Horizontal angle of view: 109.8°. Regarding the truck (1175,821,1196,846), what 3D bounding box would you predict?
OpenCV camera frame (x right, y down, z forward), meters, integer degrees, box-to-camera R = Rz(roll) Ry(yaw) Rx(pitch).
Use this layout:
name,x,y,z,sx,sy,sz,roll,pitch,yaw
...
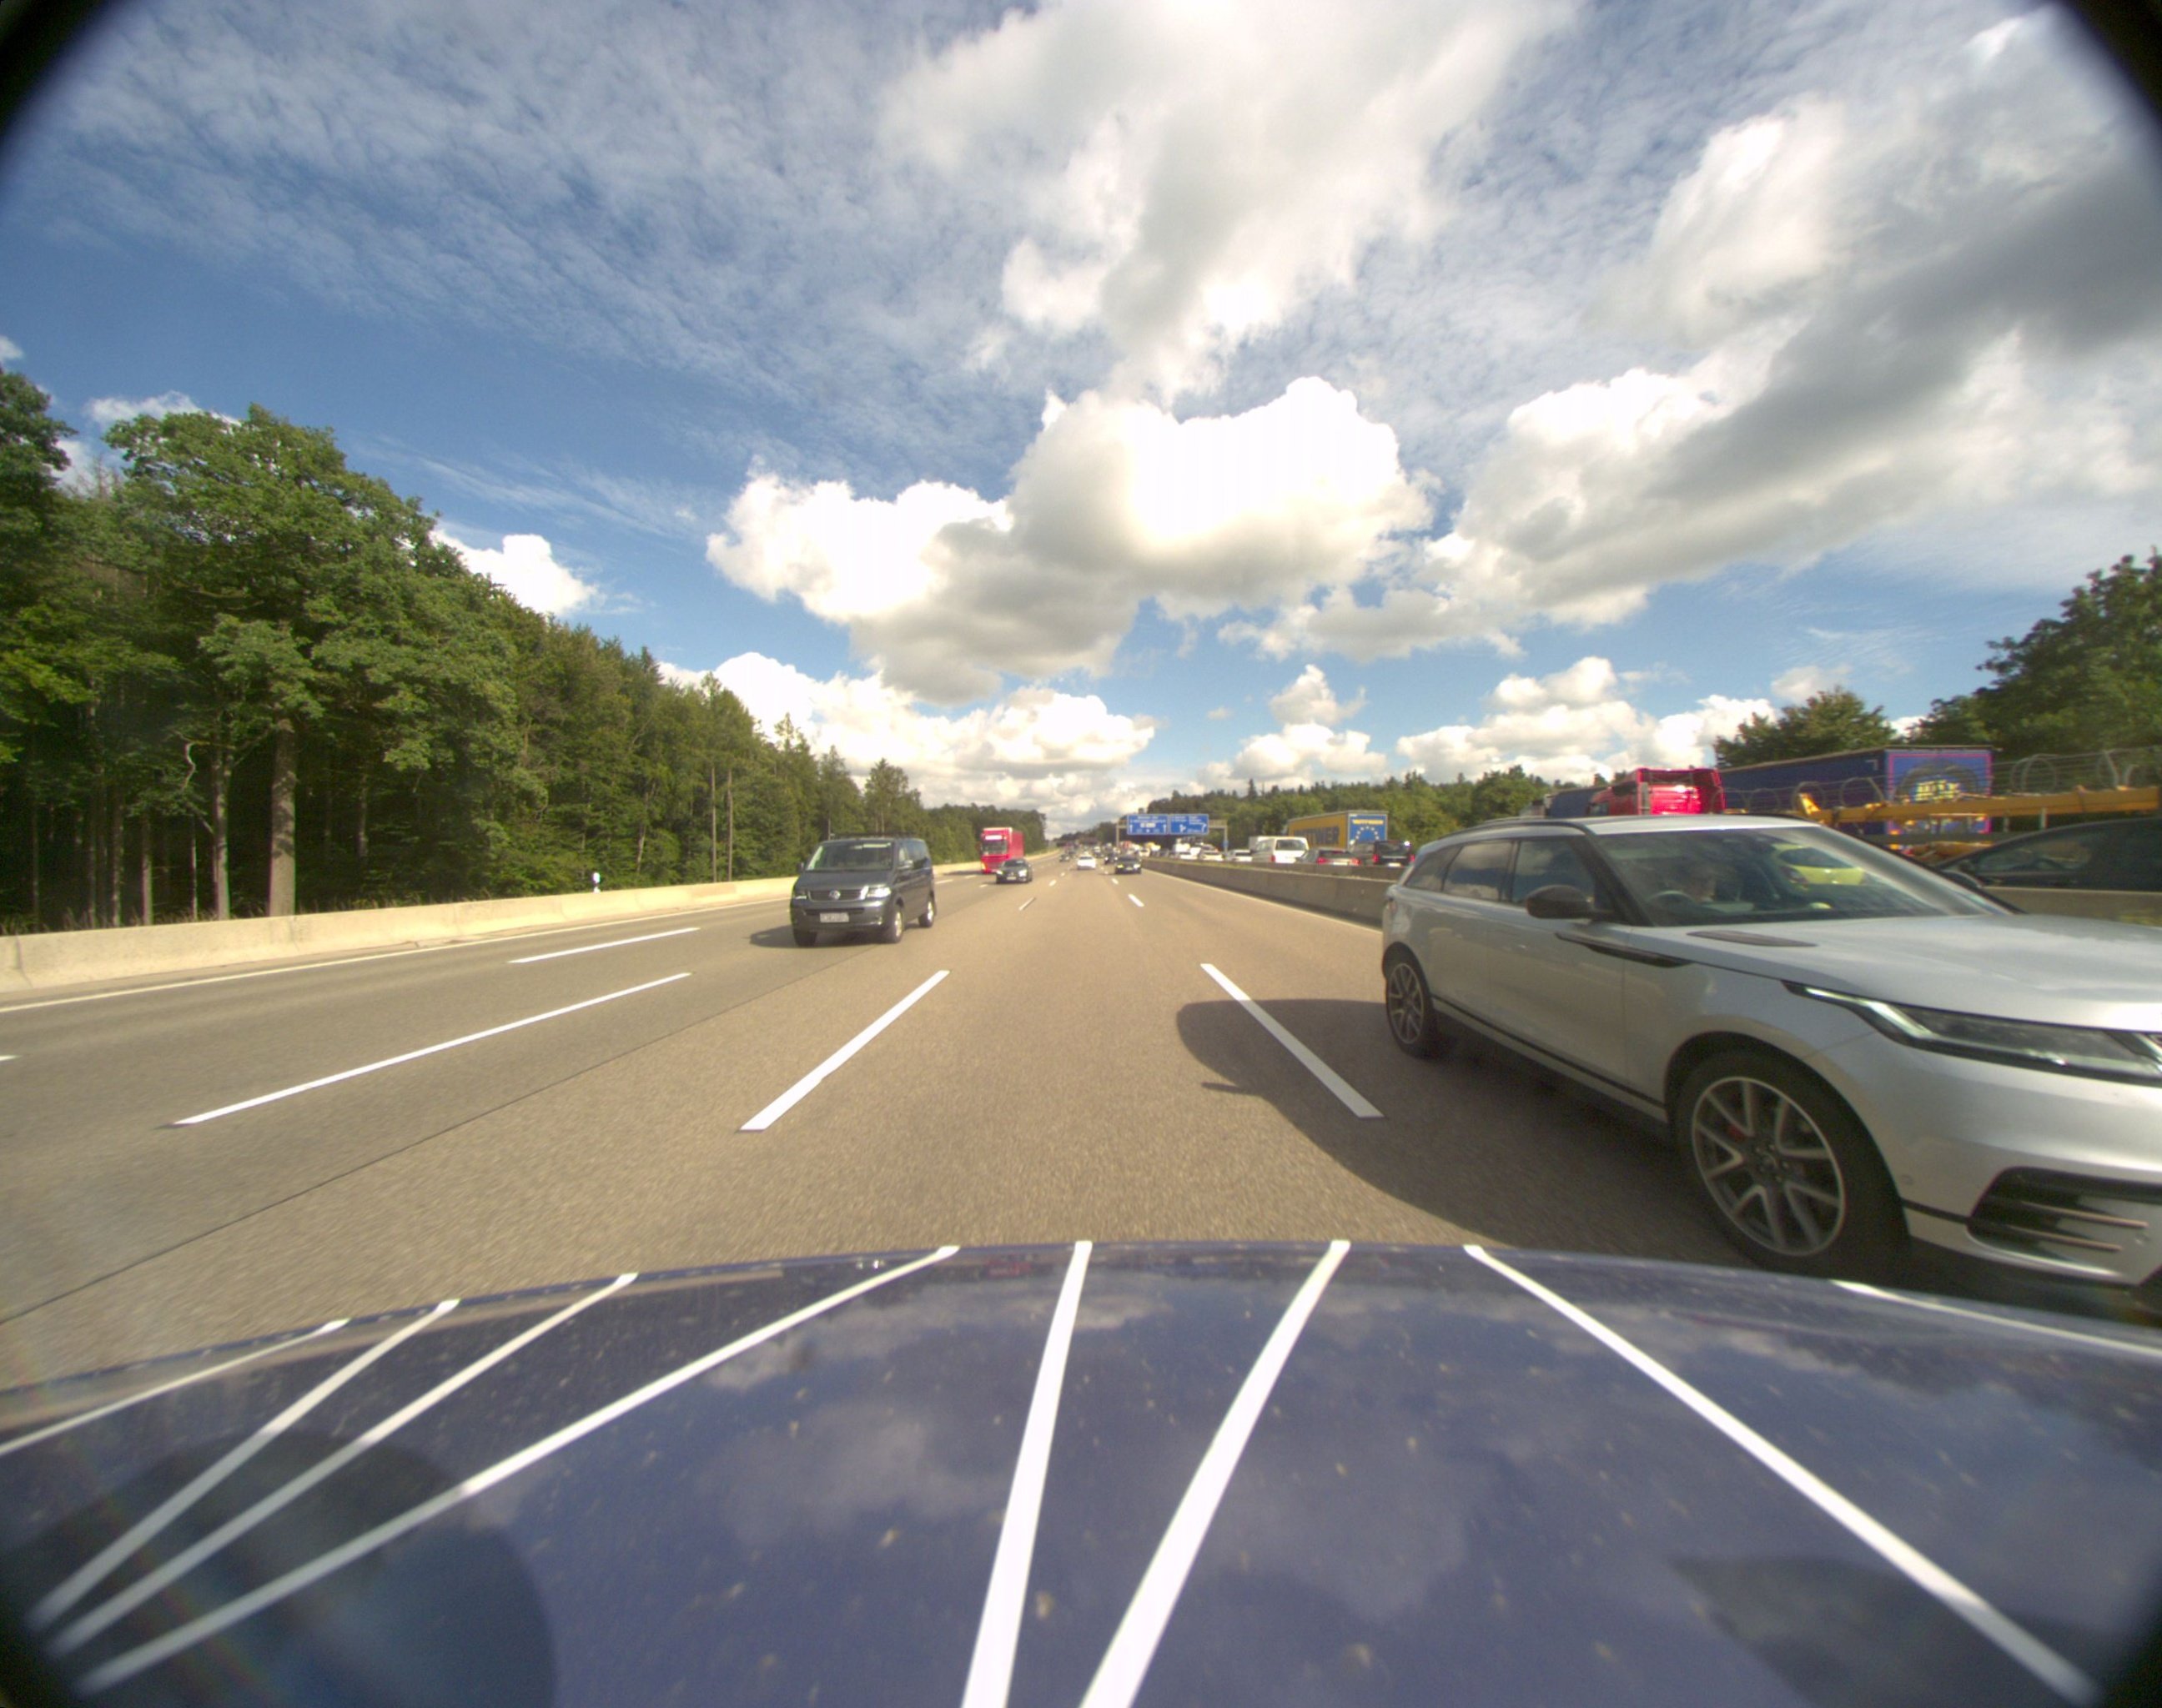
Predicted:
name,x,y,z,sx,sy,sz,roll,pitch,yaw
truck,18.456,-3.661,134.309,2.860,4.210,5.712,-3,1,1

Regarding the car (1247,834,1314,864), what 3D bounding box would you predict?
name,x,y,z,sx,sy,sz,roll,pitch,yaw
car,9.874,-0.301,38.117,1.854,1.347,5.487,-2,2,0

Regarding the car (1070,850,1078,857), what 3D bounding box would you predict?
name,x,y,z,sx,sy,sz,roll,pitch,yaw
car,-1.637,-0.137,187.440,1.804,1.865,3.950,-1,1,1

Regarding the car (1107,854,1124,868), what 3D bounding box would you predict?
name,x,y,z,sx,sy,sz,roll,pitch,yaw
car,4.449,0.879,98.158,1.911,1.582,4.287,-2,2,0

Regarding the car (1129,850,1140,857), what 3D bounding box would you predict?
name,x,y,z,sx,sy,sz,roll,pitch,yaw
car,9.977,-0.094,142.163,1.699,1.364,4.000,-2,0,1

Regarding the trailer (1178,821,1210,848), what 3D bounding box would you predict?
name,x,y,z,sx,sy,sz,roll,pitch,yaw
trailer,18.424,-3.238,124.883,2.837,3.953,16.000,-2,2,1

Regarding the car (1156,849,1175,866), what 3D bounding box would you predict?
name,x,y,z,sx,sy,sz,roll,pitch,yaw
car,10.707,0.417,96.969,1.998,2.002,4.408,-1,2,1

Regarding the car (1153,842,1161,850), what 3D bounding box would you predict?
name,x,y,z,sx,sy,sz,roll,pitch,yaw
car,19.573,-2.093,195.948,1.804,1.865,3.950,-1,1,1

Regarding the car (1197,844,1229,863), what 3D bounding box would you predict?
name,x,y,z,sx,sy,sz,roll,pitch,yaw
car,10.336,-0.014,59.915,1.761,1.369,4.000,-2,0,0

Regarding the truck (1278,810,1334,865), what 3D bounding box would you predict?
name,x,y,z,sx,sy,sz,roll,pitch,yaw
truck,17.893,-1.322,60.776,2.743,4.125,5.615,-2,2,0

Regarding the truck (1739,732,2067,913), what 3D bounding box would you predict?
name,x,y,z,sx,sy,sz,roll,pitch,yaw
truck,21.290,-0.737,20.228,2.819,4.125,5.452,-1,0,0

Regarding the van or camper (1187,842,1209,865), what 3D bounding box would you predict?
name,x,y,z,sx,sy,sz,roll,pitch,yaw
van or camper,14.926,-0.092,97.191,2.050,2.696,5.749,-2,2,1

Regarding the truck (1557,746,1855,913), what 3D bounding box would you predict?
name,x,y,z,sx,sy,sz,roll,pitch,yaw
truck,17.248,-0.604,21.777,2.783,3.915,6.852,-2,0,0

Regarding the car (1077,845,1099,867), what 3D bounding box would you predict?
name,x,y,z,sx,sy,sz,roll,pitch,yaw
car,0.728,0.199,76.038,1.998,2.002,4.000,-2,0,2

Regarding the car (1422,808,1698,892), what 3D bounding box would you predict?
name,x,y,z,sx,sy,sz,roll,pitch,yaw
car,9.532,-0.092,16.017,1.819,1.341,6.232,-3,0,0

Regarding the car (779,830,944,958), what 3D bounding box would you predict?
name,x,y,z,sx,sy,sz,roll,pitch,yaw
car,-4.220,0.664,15.548,1.927,2.153,4.960,-1,1,0

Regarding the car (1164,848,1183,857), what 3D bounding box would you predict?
name,x,y,z,sx,sy,sz,roll,pitch,yaw
car,10.410,-0.187,85.801,1.639,0.853,4.605,-3,0,0

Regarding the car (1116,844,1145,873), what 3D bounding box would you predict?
name,x,y,z,sx,sy,sz,roll,pitch,yaw
car,3.639,0.274,56.023,1.919,2.002,4.000,-2,0,2

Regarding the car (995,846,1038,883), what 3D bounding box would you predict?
name,x,y,z,sx,sy,sz,roll,pitch,yaw
car,-3.695,0.559,44.219,1.998,2.002,4.000,-2,0,2

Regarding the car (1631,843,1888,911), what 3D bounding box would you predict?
name,x,y,z,sx,sy,sz,roll,pitch,yaw
car,13.389,0.400,15.365,1.589,1.120,3.999,-3,0,0

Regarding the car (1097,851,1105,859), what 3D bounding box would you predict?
name,x,y,z,sx,sy,sz,roll,pitch,yaw
car,4.536,0.173,174.345,1.804,1.783,3.758,-1,1,1

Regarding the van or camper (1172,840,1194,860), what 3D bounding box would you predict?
name,x,y,z,sx,sy,sz,roll,pitch,yaw
van or camper,14.695,-0.602,109.958,2.397,2.696,6.630,-2,2,2

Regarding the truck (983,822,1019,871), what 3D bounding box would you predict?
name,x,y,z,sx,sy,sz,roll,pitch,yaw
truck,-7.154,-0.675,68.325,2.532,4.179,4.652,-2,1,0

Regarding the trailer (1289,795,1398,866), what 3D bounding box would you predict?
name,x,y,z,sx,sy,sz,roll,pitch,yaw
trailer,17.907,-1.615,53.224,2.778,4.211,13.655,-2,2,0

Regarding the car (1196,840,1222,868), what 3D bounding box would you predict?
name,x,y,z,sx,sy,sz,roll,pitch,yaw
car,14.814,-0.022,88.000,1.998,2.946,5.402,-3,1,0

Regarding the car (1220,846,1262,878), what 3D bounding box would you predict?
name,x,y,z,sx,sy,sz,roll,pitch,yaw
car,10.139,0.472,48.407,1.691,1.806,4.294,-2,2,0

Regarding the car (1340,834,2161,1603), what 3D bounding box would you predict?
name,x,y,z,sx,sy,sz,roll,pitch,yaw
car,3.197,0.741,3.902,1.905,1.597,5.104,-2,1,-1

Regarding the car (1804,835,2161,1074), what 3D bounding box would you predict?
name,x,y,z,sx,sy,sz,roll,pitch,yaw
car,9.292,0.774,6.726,1.691,1.806,4.294,-2,2,0

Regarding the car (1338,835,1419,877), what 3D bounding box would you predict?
name,x,y,z,sx,sy,sz,roll,pitch,yaw
car,13.693,0.071,35.269,1.750,1.756,4.841,-3,0,0

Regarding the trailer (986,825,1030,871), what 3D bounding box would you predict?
name,x,y,z,sx,sy,sz,roll,pitch,yaw
trailer,-7.032,-0.682,75.067,2.531,4.096,14.374,-2,1,1

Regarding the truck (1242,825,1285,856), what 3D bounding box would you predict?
name,x,y,z,sx,sy,sz,roll,pitch,yaw
truck,18.320,-1.336,76.803,2.334,2.785,7.948,-3,0,0

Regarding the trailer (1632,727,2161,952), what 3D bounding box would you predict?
name,x,y,z,sx,sy,sz,roll,pitch,yaw
trailer,17.285,-0.264,14.702,2.735,3.316,14.218,-2,0,0

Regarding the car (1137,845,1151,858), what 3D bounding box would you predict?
name,x,y,z,sx,sy,sz,roll,pitch,yaw
car,10.638,-0.456,128.526,1.998,2.088,5.276,-2,2,1

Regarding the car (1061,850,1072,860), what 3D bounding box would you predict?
name,x,y,z,sx,sy,sz,roll,pitch,yaw
car,-2.661,0.125,141.013,1.911,1.582,4.286,-2,2,-2

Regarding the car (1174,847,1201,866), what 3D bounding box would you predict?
name,x,y,z,sx,sy,sz,roll,pitch,yaw
car,10.553,0.253,75.797,1.998,1.733,4.295,-3,1,0

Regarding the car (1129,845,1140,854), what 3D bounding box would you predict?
name,x,y,z,sx,sy,sz,roll,pitch,yaw
car,11.372,-0.917,161.163,2.092,1.791,4.179,-2,0,1

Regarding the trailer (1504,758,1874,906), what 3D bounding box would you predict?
name,x,y,z,sx,sy,sz,roll,pitch,yaw
trailer,21.335,-0.651,28.799,2.816,4.095,14.041,-3,0,1

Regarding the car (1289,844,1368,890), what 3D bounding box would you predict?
name,x,y,z,sx,sy,sz,roll,pitch,yaw
car,9.664,0.471,29.984,1.728,1.594,3.999,-3,0,0

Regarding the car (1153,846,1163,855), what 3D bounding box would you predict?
name,x,y,z,sx,sy,sz,roll,pitch,yaw
car,16.371,-0.750,161.816,1.804,1.865,3.950,-1,1,1
